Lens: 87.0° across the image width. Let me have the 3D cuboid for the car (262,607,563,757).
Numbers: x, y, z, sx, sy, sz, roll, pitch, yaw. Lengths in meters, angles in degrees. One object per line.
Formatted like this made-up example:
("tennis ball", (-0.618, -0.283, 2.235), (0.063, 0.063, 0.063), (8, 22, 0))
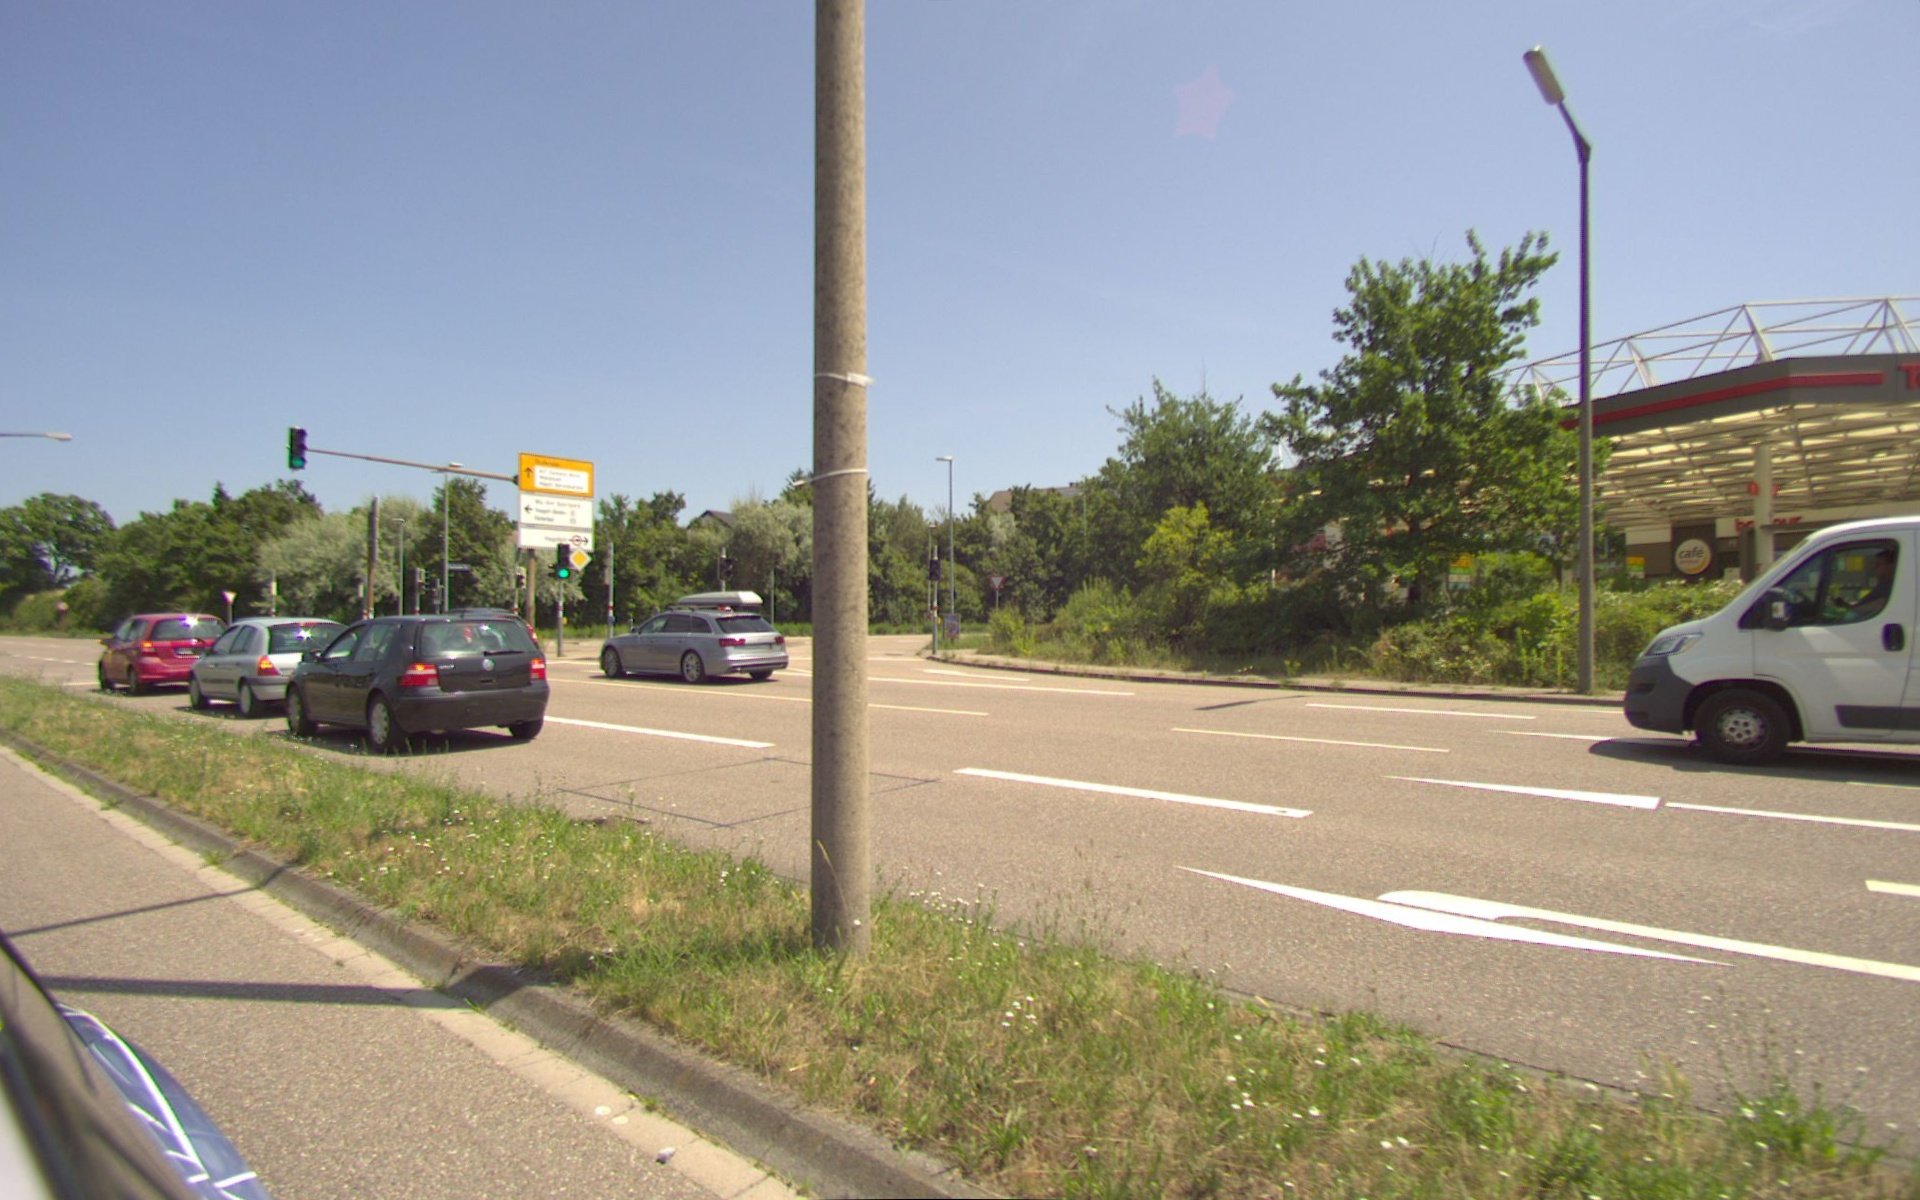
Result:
("car", (-6.486, 0.833, 11.800), (4.187, 1.445, 1.659), (-1, -1, 40))

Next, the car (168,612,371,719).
("car", (-10.738, 0.956, 15.658), (3.849, 1.434, 1.545), (-2, -1, 39))

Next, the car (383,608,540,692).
("car", (-9.617, 0.912, 19.437), (3.502, 1.456, 1.432), (-1, -1, 40))

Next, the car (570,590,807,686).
("car", (-5.646, 0.759, 20.768), (5.010, 1.763, 1.948), (-1, -2, 35))

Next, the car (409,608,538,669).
("car", (-13.397, 1.026, 27.786), (3.995, 1.551, 1.642), (-1, -1, 39))

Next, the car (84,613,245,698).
("car", (-15.691, 1.028, 19.894), (3.995, 1.502, 1.642), (-1, -1, 39))

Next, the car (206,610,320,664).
("car", (-19.730, 1.023, 28.591), (3.998, 1.395, 1.581), (-1, -1, 39))

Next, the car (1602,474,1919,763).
("car", (8.787, 0.127, 8.499), (5.446, 2.290, 2.226), (-1, 0, 41))
